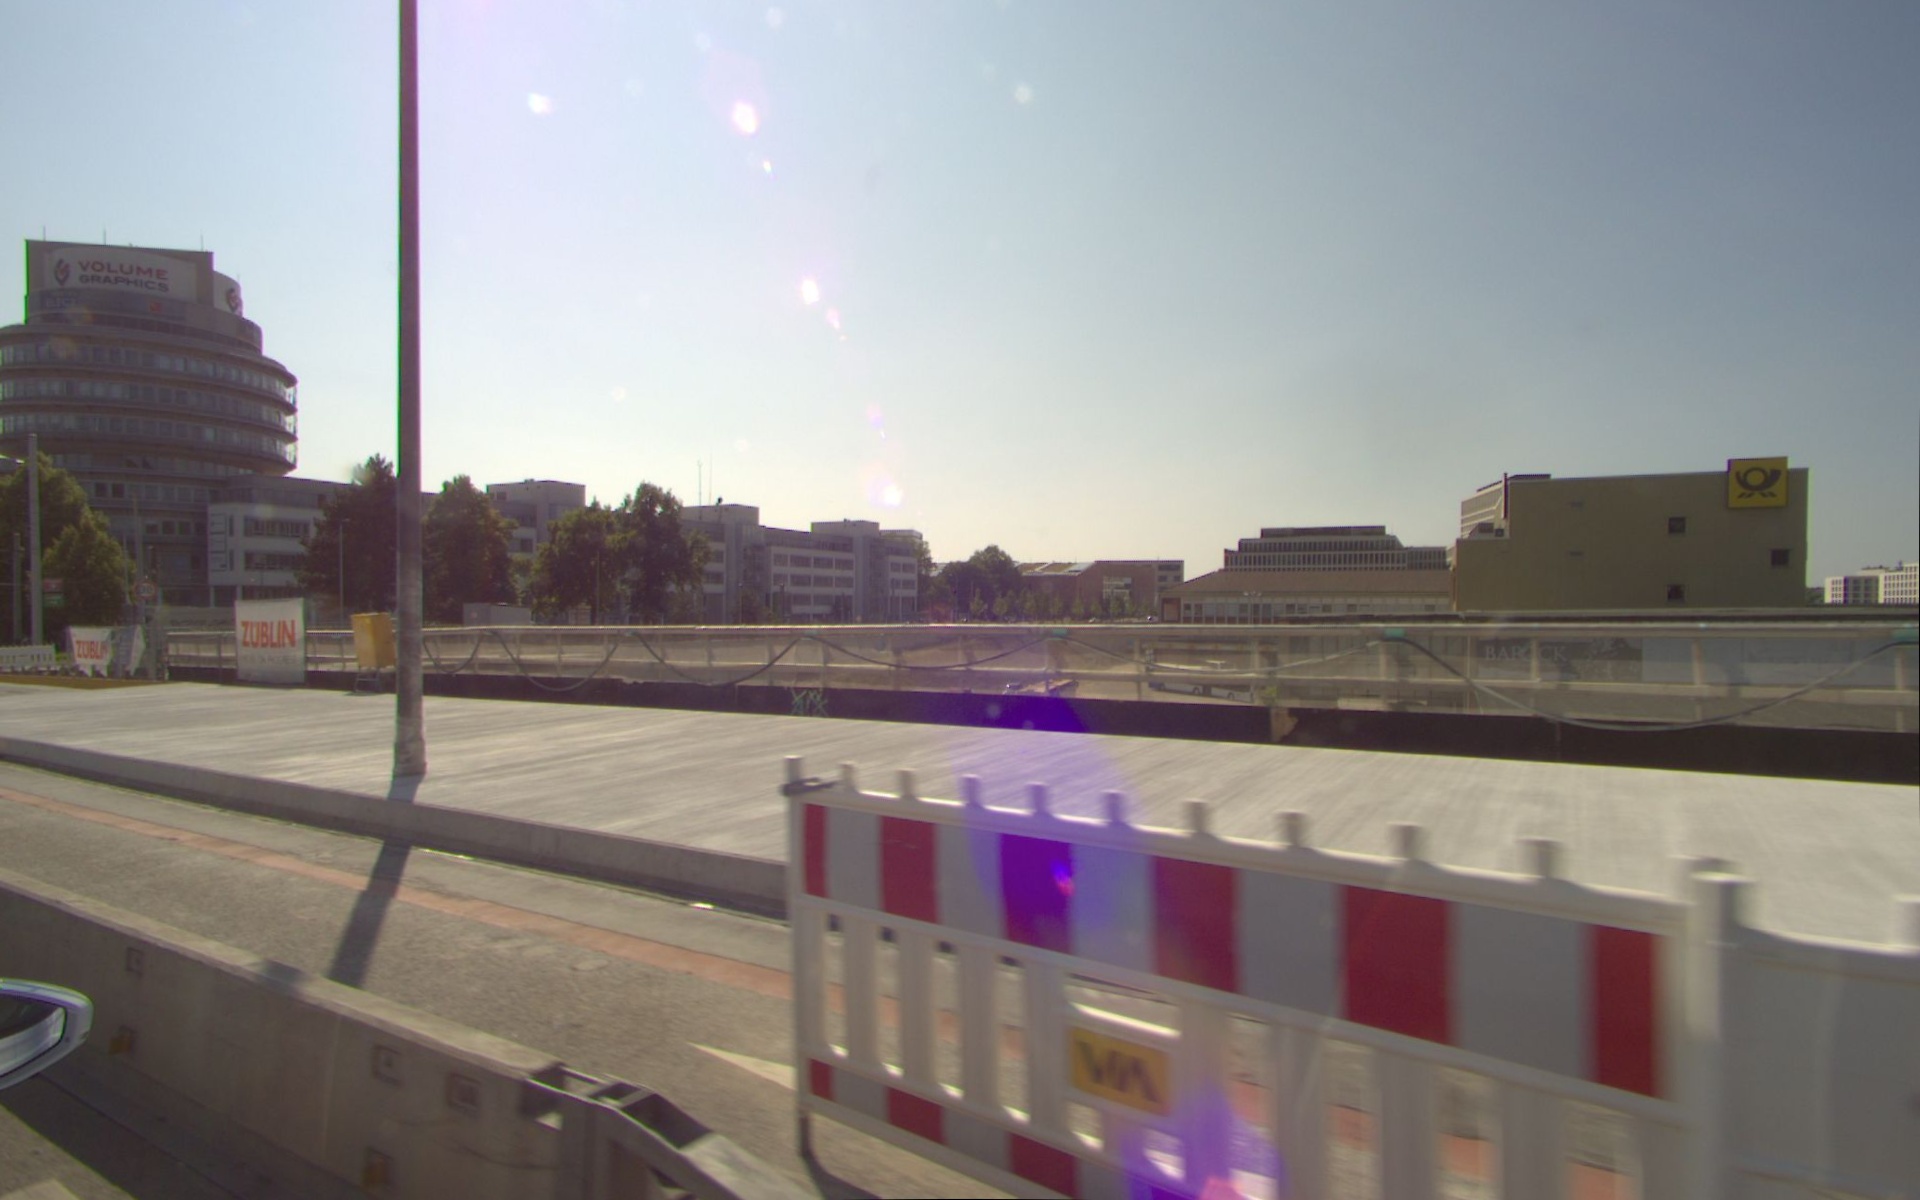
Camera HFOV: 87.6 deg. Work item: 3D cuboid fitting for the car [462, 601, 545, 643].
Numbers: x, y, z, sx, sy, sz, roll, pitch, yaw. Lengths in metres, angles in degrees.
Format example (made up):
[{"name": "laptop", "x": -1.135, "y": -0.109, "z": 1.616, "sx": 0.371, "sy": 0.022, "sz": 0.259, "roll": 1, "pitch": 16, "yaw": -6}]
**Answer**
[{"name": "car", "x": -33.476, "y": 1.615, "z": 73.618, "sx": 2.303, "sy": 2.924, "sz": 5.967, "roll": 1, "pitch": -1, "yaw": 14}]
